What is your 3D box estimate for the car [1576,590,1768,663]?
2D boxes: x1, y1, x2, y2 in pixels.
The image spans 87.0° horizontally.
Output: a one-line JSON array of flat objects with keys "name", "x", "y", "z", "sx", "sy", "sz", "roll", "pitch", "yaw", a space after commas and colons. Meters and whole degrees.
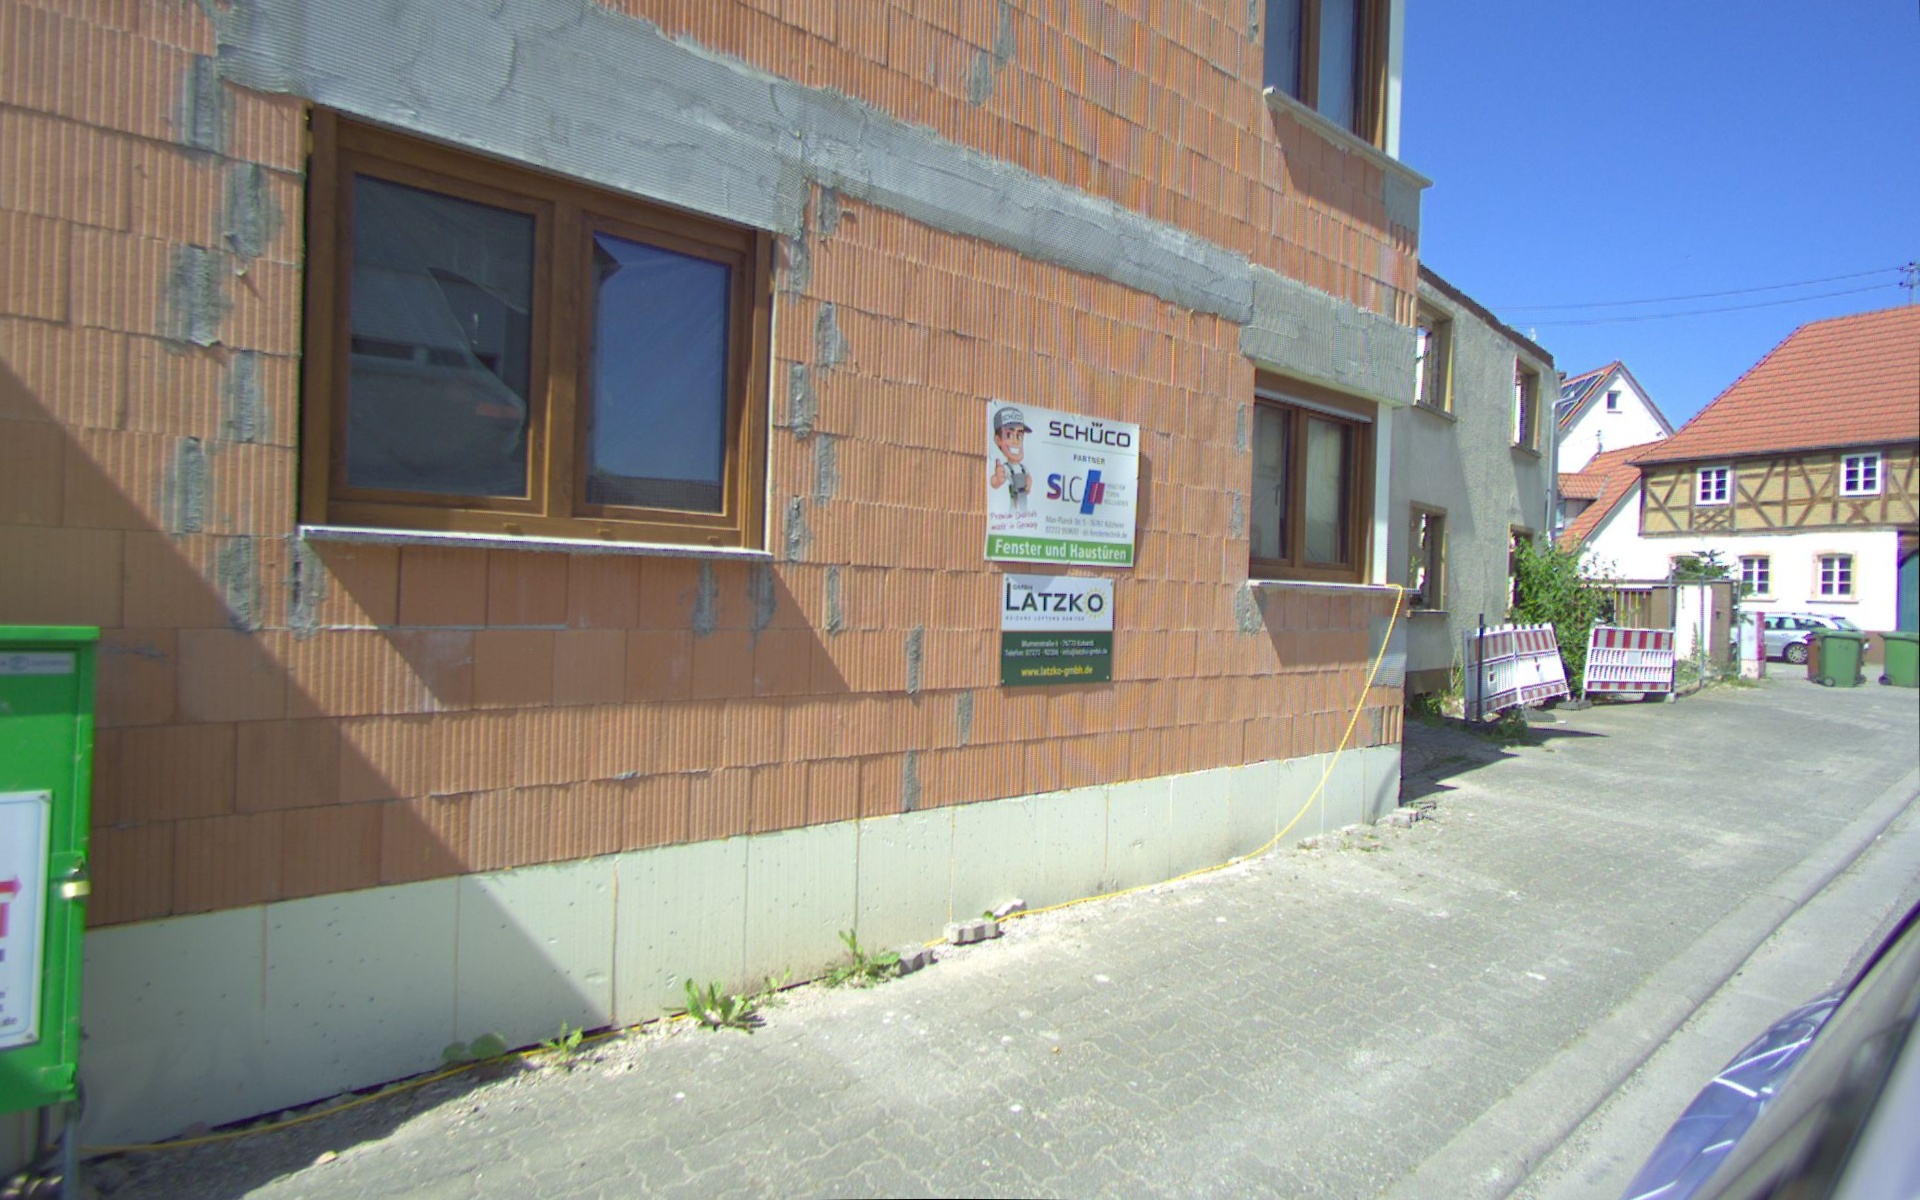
[{"name": "car", "x": 16.770, "y": 0.634, "z": 23.833, "sx": 4.207, "sy": 1.547, "sz": 1.820, "roll": 2, "pitch": 1, "yaw": -25}]

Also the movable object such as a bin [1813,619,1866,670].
[{"name": "movable object such as a bin", "x": 19.834, "y": 0.988, "z": 22.824, "sx": 0.741, "sy": 1.095, "sz": 0.722, "roll": 2, "pitch": 0, "yaw": -36}]

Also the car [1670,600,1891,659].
[{"name": "car", "x": 24.587, "y": 0.826, "z": 30.539, "sx": 1.959, "sy": 1.470, "sz": 4.774, "roll": 1, "pitch": 1, "yaw": -29}]

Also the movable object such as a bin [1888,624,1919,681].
[{"name": "movable object such as a bin", "x": 19.176, "y": 1.052, "z": 20.278, "sx": 0.625, "sy": 1.106, "sz": 0.689, "roll": 2, "pitch": 0, "yaw": -32}]

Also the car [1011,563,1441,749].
[{"name": "car", "x": 2.700, "y": 0.443, "z": 10.908, "sx": 4.091, "sy": 1.526, "sz": 1.840, "roll": 4, "pitch": 2, "yaw": 45}]

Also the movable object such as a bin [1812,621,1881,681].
[{"name": "movable object such as a bin", "x": 17.043, "y": 0.965, "z": 19.474, "sx": 0.751, "sy": 1.085, "sz": 0.668, "roll": 2, "pitch": 0, "yaw": 17}]

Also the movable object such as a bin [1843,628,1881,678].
[{"name": "movable object such as a bin", "x": 18.059, "y": 1.049, "z": 20.268, "sx": 0.453, "sy": 0.961, "sz": 0.446, "roll": 1, "pitch": 0, "yaw": -32}]

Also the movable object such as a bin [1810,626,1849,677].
[{"name": "movable object such as a bin", "x": 17.709, "y": 1.044, "z": 20.620, "sx": 0.486, "sy": 0.982, "sz": 0.466, "roll": 2, "pitch": 0, "yaw": -33}]
